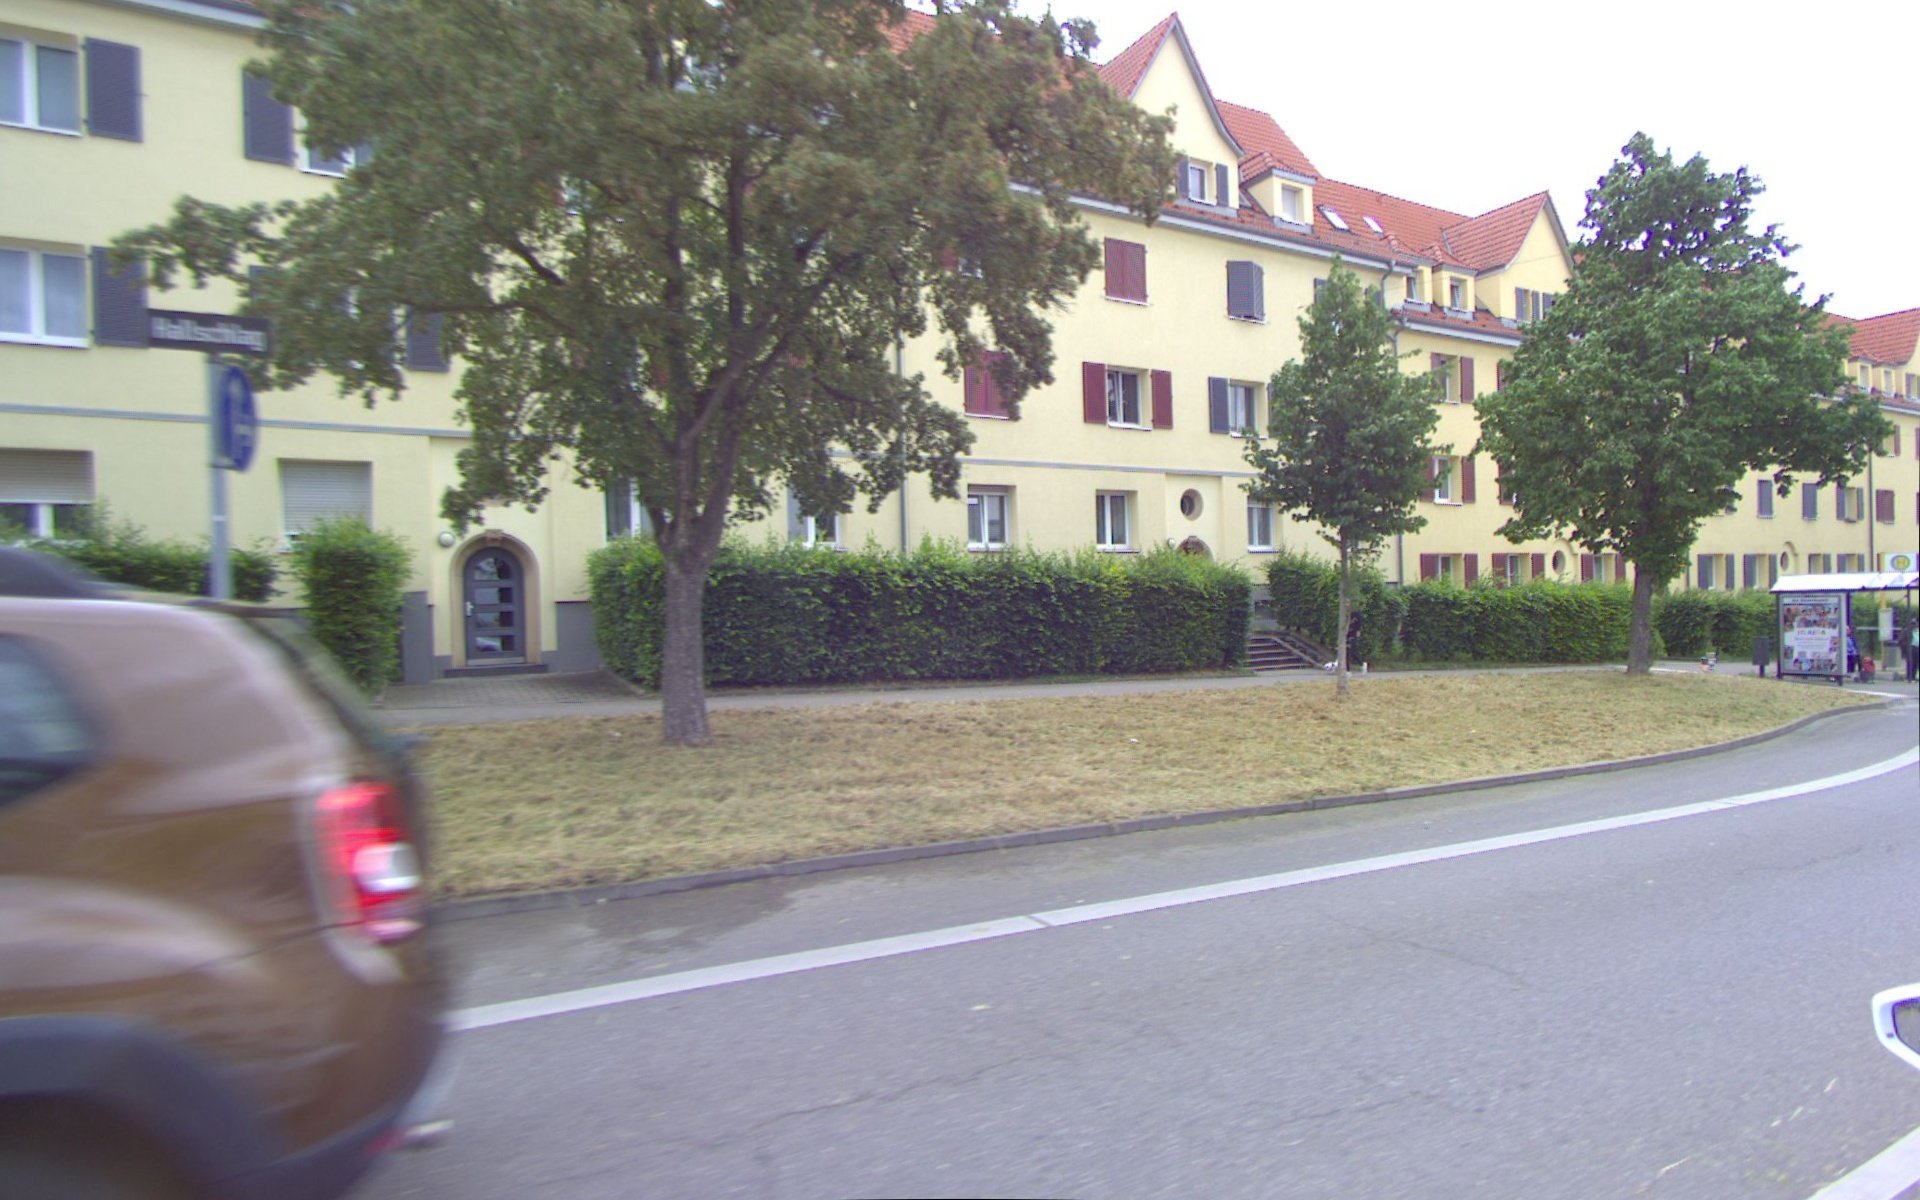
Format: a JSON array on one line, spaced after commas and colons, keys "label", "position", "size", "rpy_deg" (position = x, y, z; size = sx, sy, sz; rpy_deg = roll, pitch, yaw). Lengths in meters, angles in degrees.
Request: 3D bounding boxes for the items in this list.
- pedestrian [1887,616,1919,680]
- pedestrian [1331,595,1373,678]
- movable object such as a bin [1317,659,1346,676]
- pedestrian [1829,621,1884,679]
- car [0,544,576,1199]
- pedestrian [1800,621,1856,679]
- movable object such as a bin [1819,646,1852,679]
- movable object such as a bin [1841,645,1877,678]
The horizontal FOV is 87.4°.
[{"label": "pedestrian", "position": [26.774, 1.343, 28.357], "size": [0.850, 1.750, 0.595], "rpy_deg": [1, 0, -27]}, {"label": "pedestrian", "position": [8.696, 0.790, 22.272], "size": [0.744, 1.803, 0.511], "rpy_deg": [0, 0, -30]}, {"label": "movable object such as a bin", "position": [8.448, 1.532, 22.865], "size": [0.573, 0.352, 0.305], "rpy_deg": [0, 0, -24]}, {"label": "pedestrian", "position": [24.680, 1.355, 27.666], "size": [0.796, 1.530, 0.895], "rpy_deg": [0, 1, -29]}, {"label": "car", "position": [-3.011, 0.734, 1.560], "size": [4.308, 1.641, 1.891], "rpy_deg": [1, -1, -29]}, {"label": "pedestrian", "position": [23.300, 1.332, 26.961], "size": [0.796, 1.493, 0.895], "rpy_deg": [0, 1, -29]}, {"label": "movable object such as a bin", "position": [23.347, 1.659, 26.784], "size": [0.656, 0.837, 0.462], "rpy_deg": [0, 1, -28]}, {"label": "movable object such as a bin", "position": [24.521, 1.670, 27.398], "size": [0.656, 0.857, 0.534], "rpy_deg": [0, 1, -28]}]
